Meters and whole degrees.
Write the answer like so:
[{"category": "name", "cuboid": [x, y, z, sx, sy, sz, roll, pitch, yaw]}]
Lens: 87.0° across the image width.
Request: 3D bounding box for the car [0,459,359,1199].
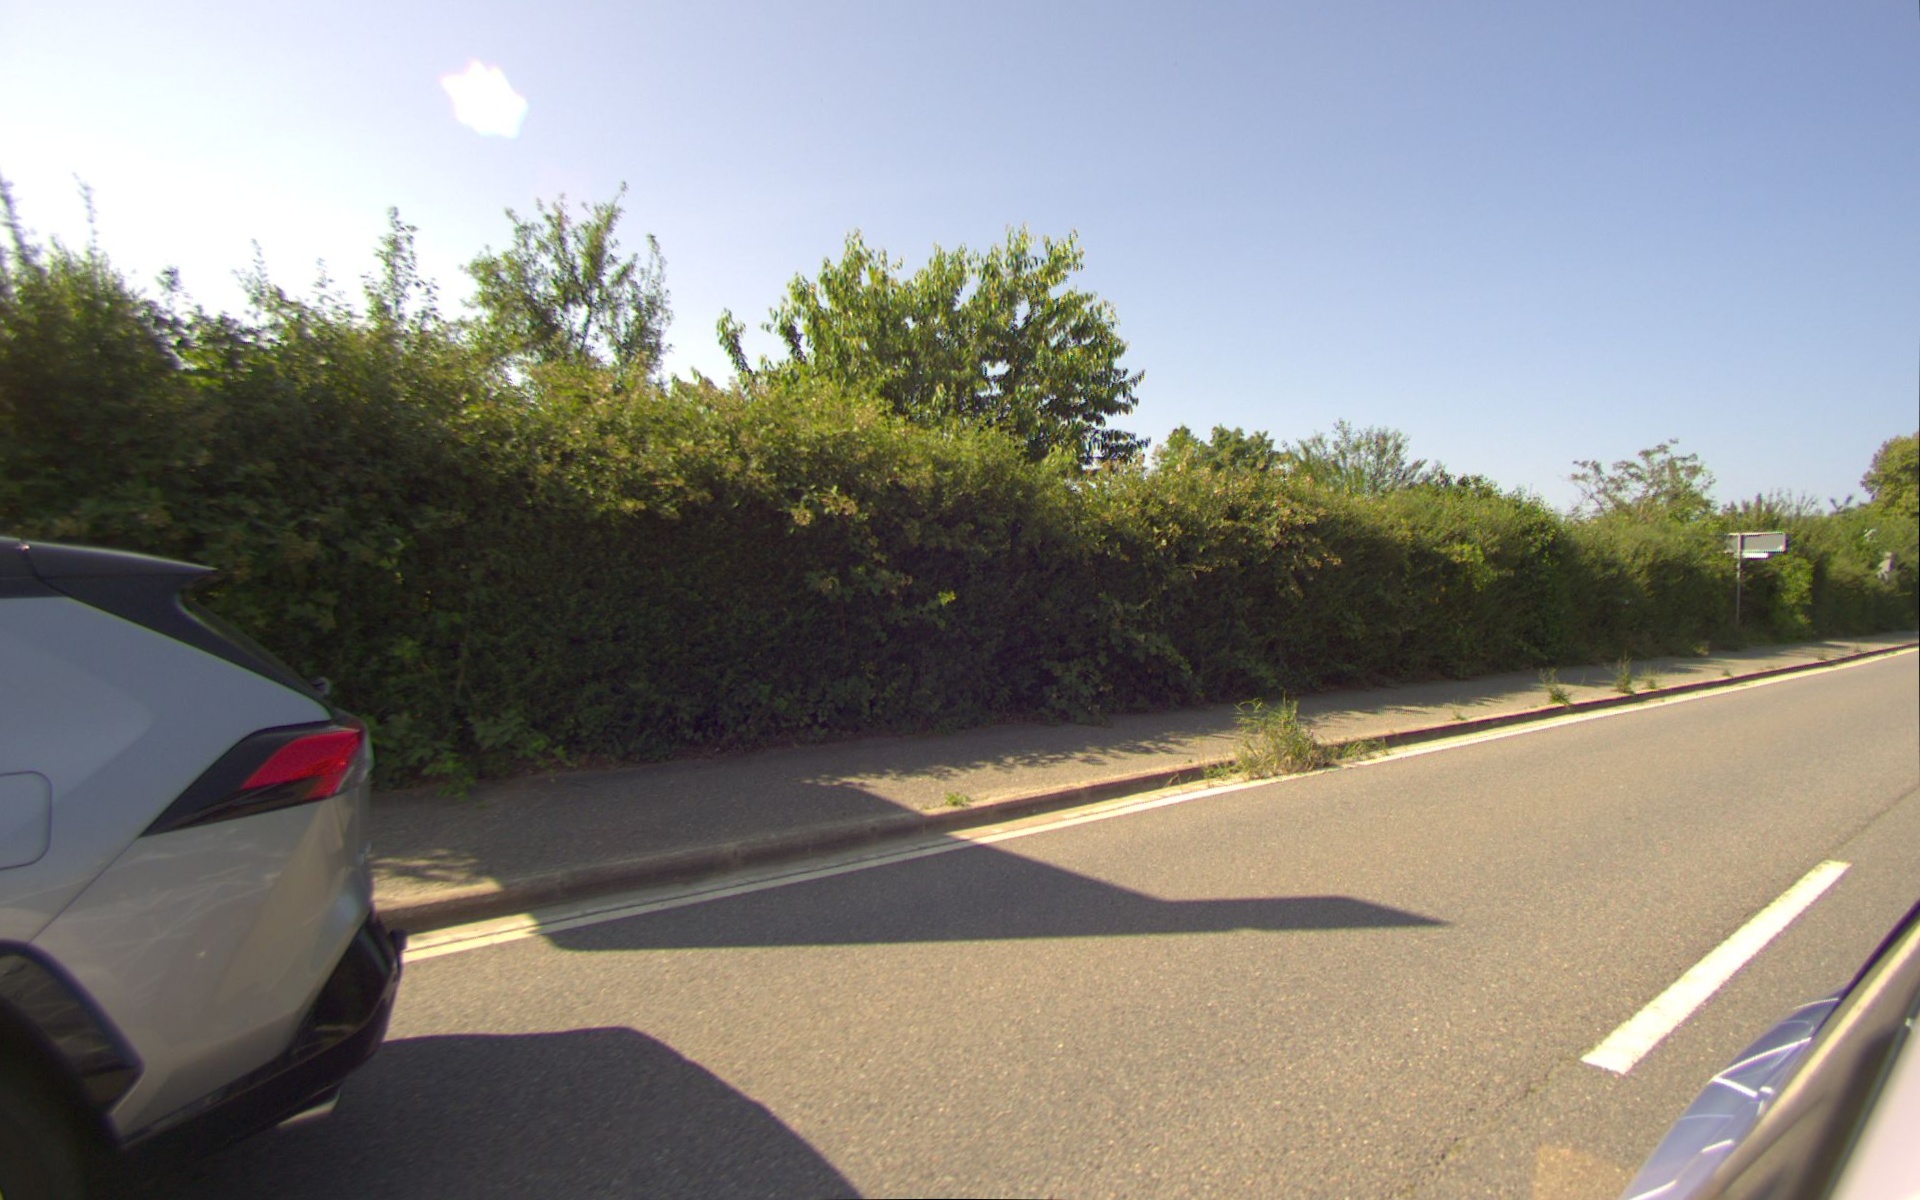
[{"category": "car", "cuboid": [-3.623, 0.602, 1.363, 4.600, 1.701, 1.905, 0, 0, -40]}]
